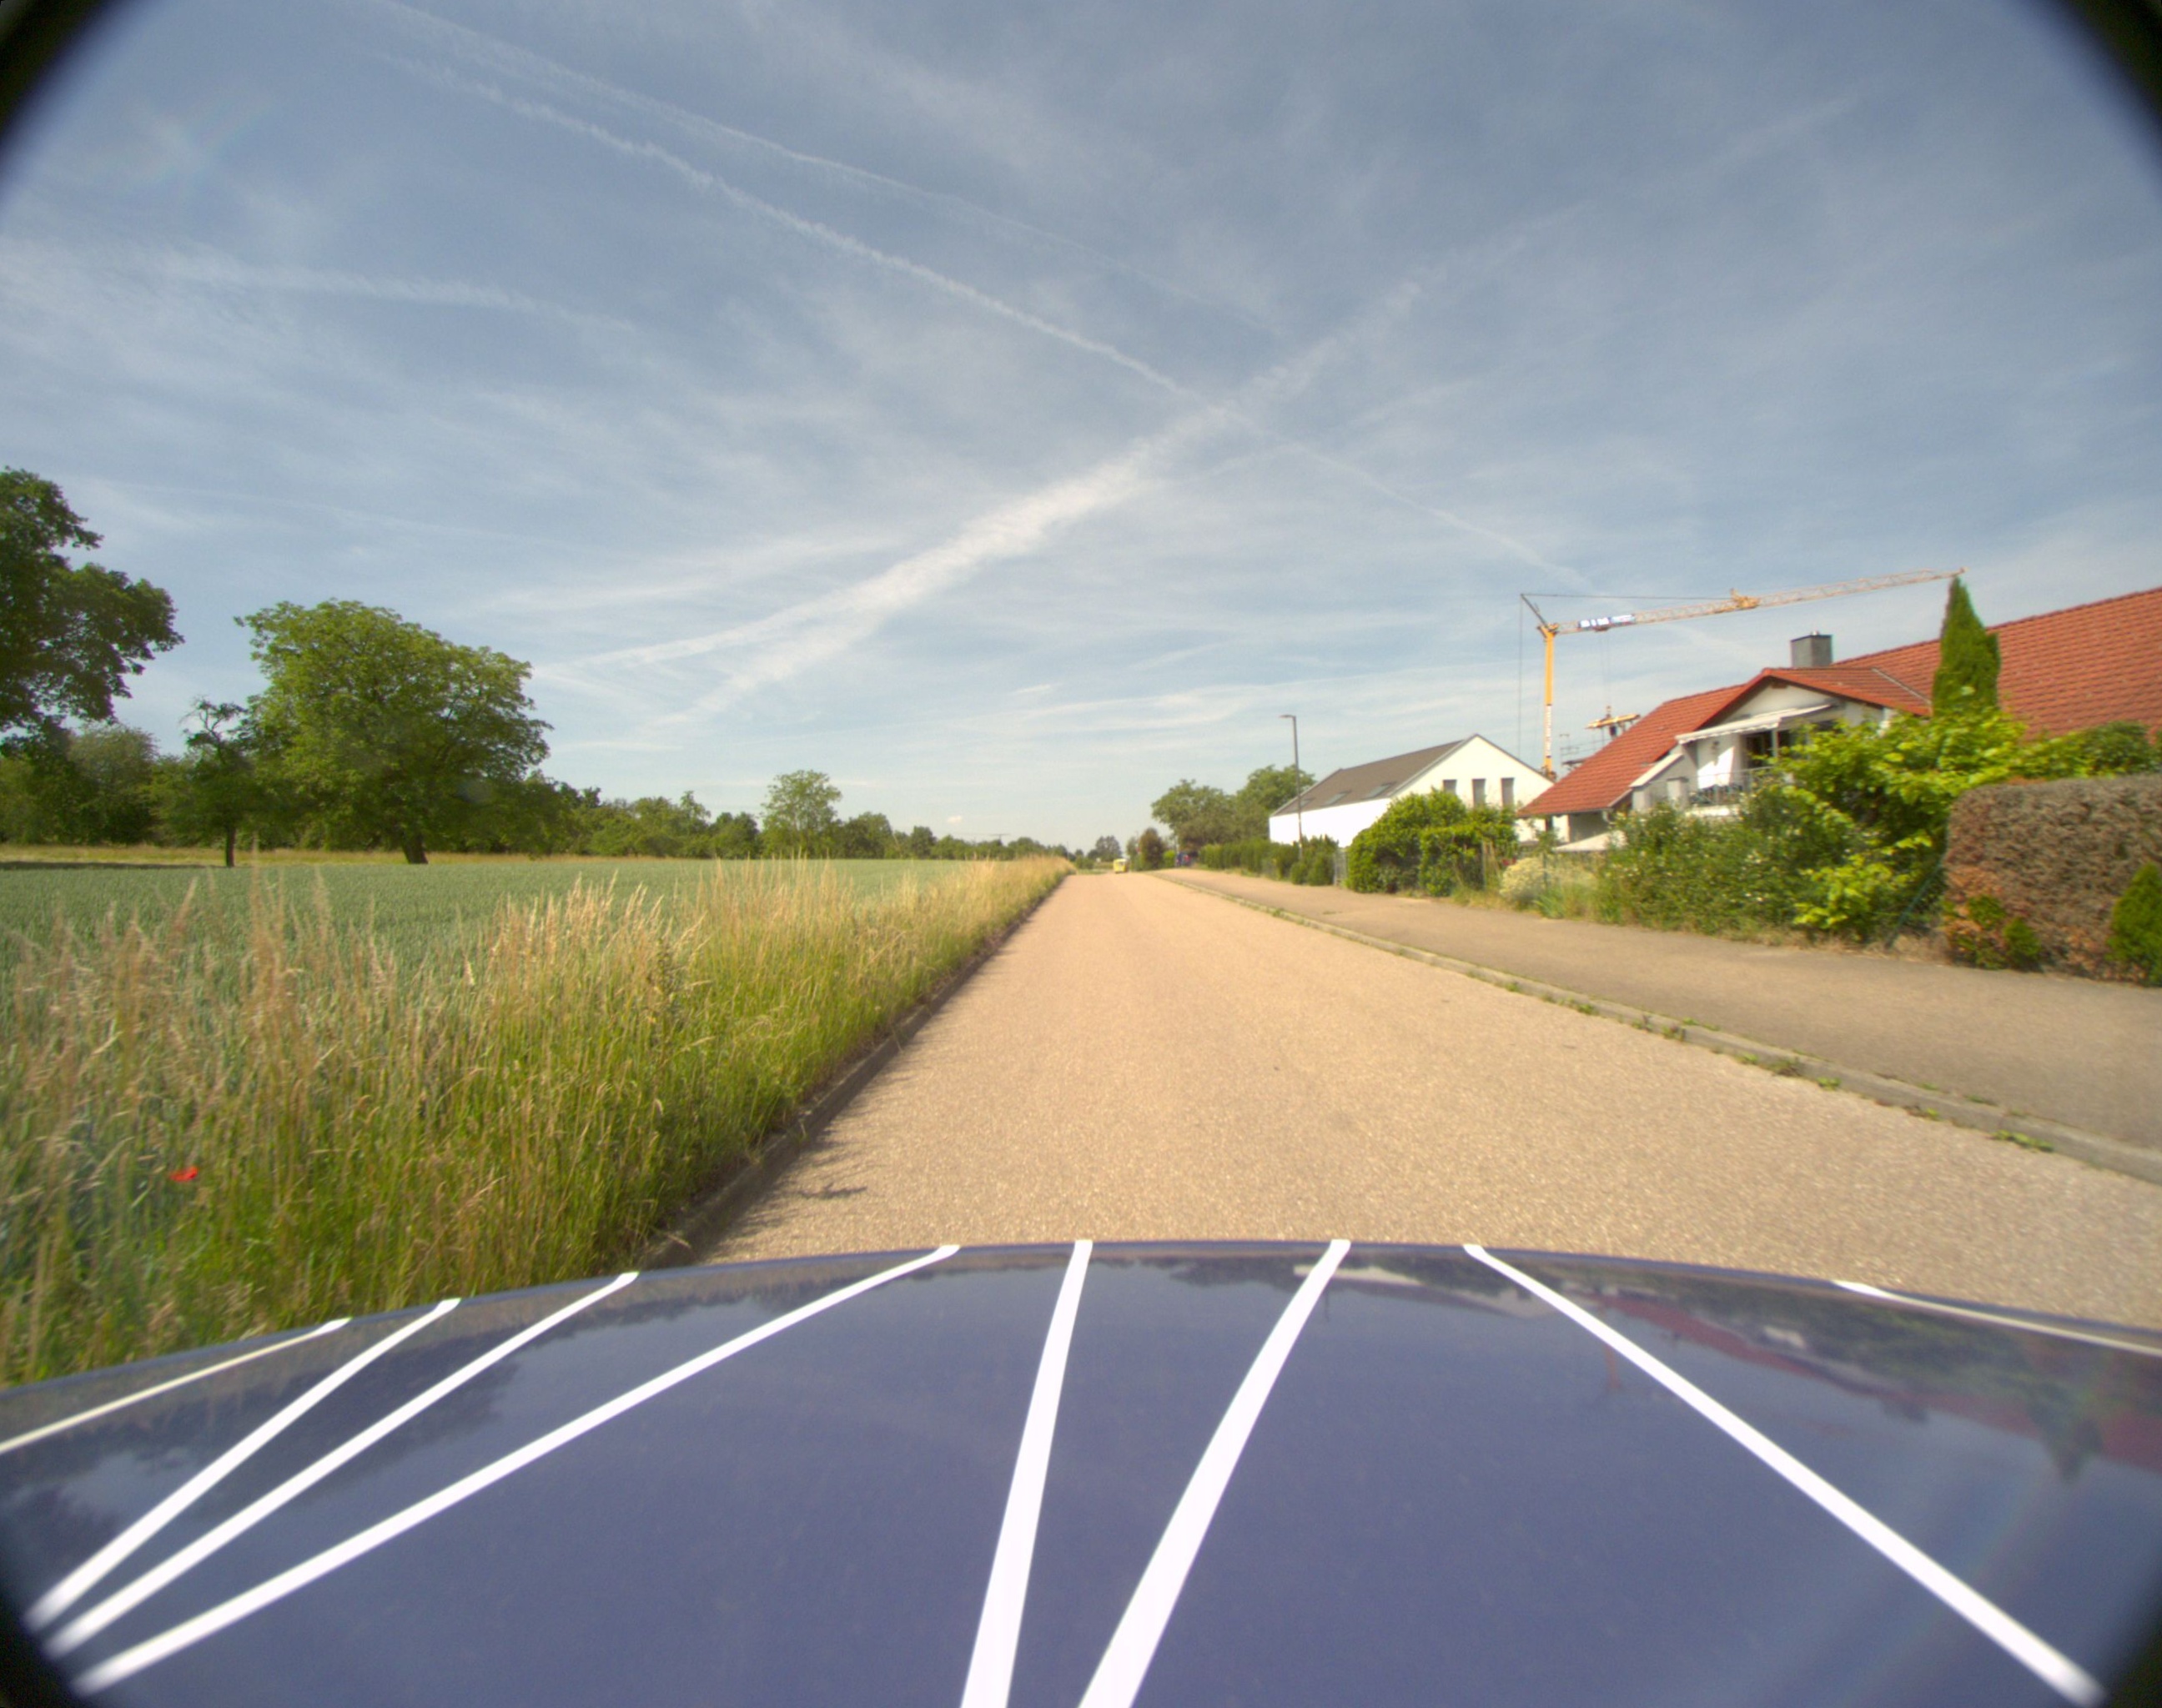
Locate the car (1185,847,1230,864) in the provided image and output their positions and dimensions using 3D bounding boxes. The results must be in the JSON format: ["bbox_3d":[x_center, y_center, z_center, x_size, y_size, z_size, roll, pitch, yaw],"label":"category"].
[{"bbox_3d":[11.535,0.136,69.526,3.885,1.314,1.801,-3,0,5],"label":"car"}]

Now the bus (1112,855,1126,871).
[{"bbox_3d":[9.265,2.111,183.203,3.066,3.557,9.456,-2,1,4],"label":"bus"}]

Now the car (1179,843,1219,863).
[{"bbox_3d":[12.036,-0.091,77.822,3.885,1.802,1.801,-3,0,5],"label":"car"}]
